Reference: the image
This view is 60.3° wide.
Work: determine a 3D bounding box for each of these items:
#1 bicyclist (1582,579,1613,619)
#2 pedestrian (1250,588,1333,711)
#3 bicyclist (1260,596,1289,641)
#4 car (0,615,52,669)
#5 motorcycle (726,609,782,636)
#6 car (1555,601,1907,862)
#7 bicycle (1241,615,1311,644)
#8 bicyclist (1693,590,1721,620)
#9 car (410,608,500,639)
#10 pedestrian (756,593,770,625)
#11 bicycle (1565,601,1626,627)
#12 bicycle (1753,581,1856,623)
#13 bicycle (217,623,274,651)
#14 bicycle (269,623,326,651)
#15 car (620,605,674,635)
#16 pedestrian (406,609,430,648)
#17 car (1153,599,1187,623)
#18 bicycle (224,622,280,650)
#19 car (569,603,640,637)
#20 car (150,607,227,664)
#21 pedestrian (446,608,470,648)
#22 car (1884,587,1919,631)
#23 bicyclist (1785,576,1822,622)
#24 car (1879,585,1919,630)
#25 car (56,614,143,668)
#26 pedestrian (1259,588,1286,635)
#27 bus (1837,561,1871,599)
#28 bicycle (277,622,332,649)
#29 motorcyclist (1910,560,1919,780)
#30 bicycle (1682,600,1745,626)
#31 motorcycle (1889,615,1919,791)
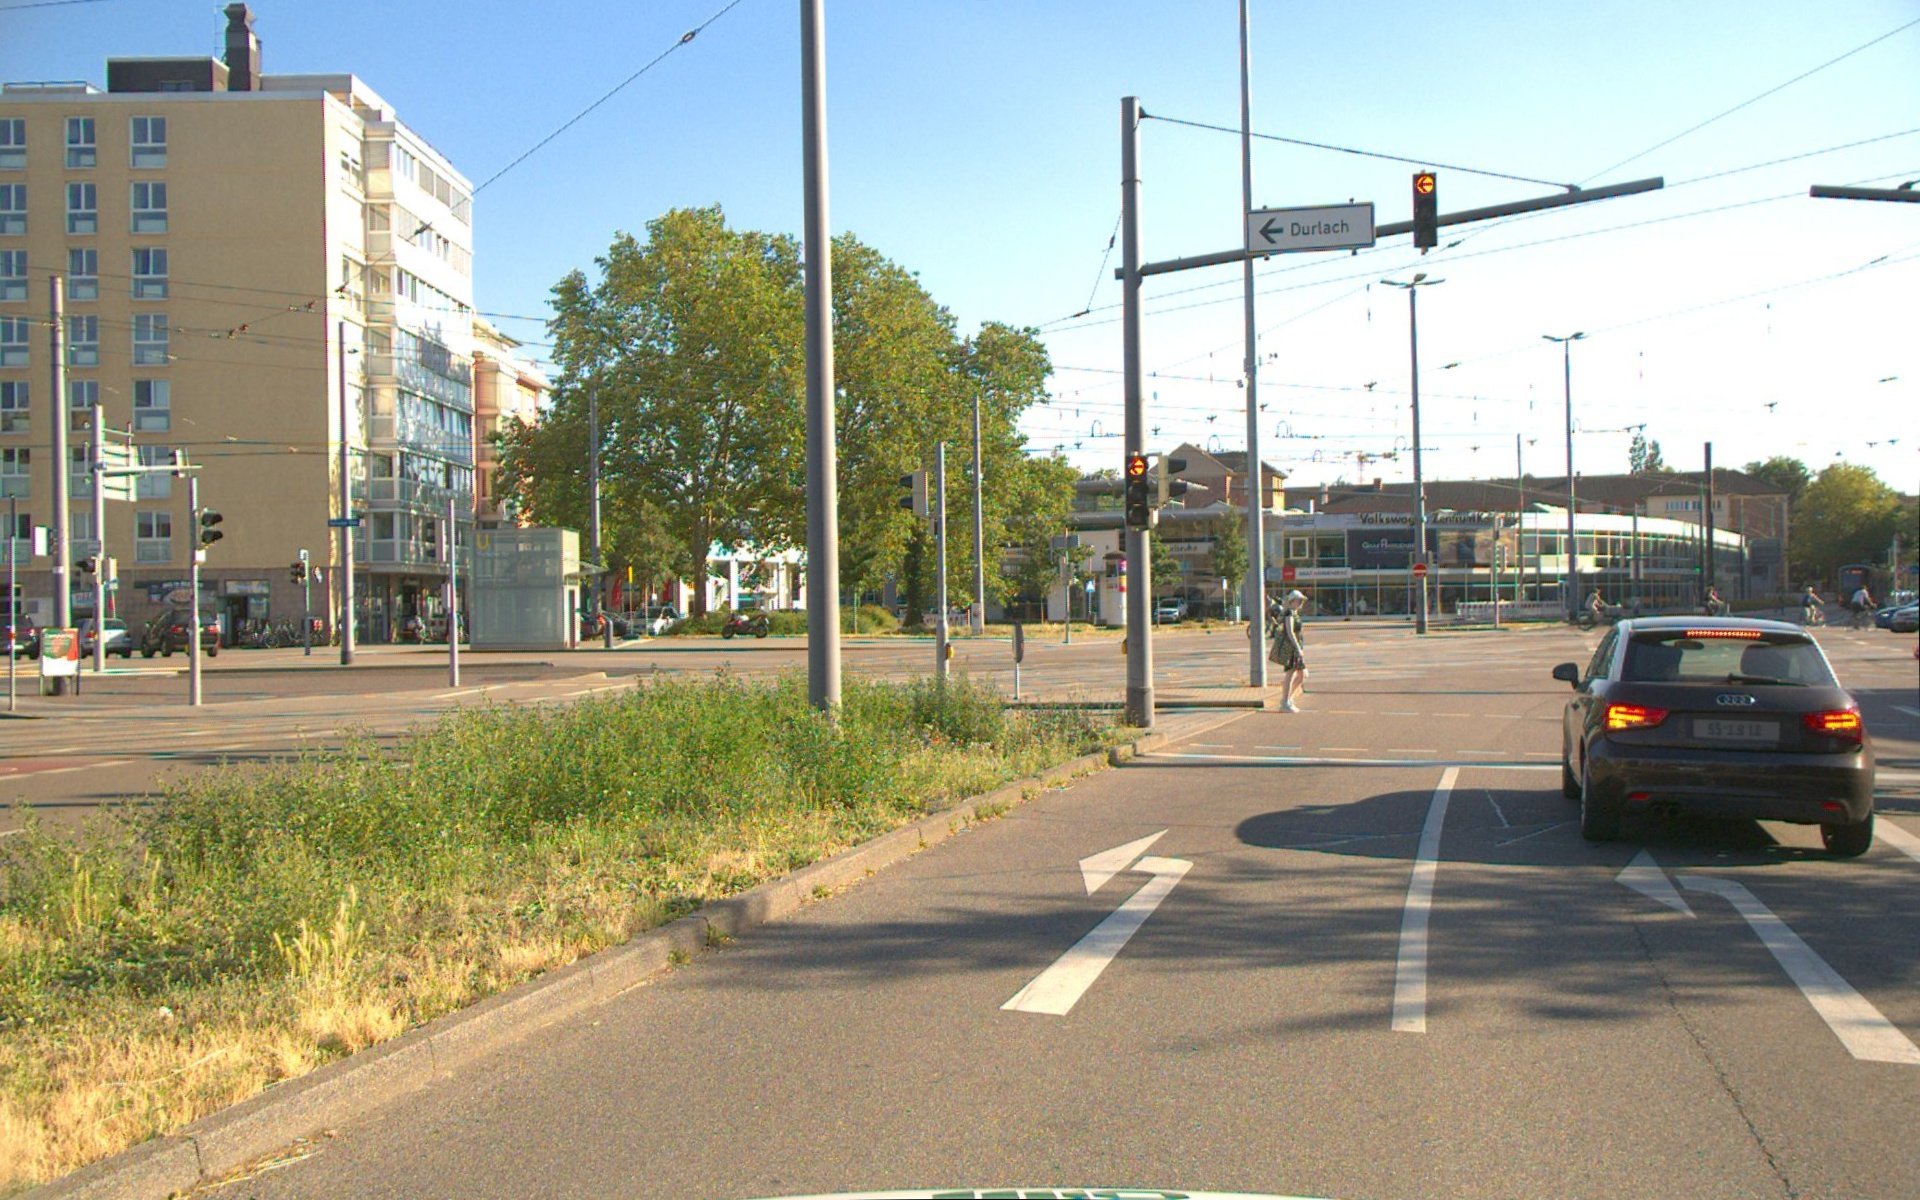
[{"bbox_3d":[26.411,-0.046,68.544,0.905,1.586,0.859,-1,1,-4],"label":"bicyclist"},{"bbox_3d":[4.506,0.663,22.514,1.069,1.634,0.699,0,1,8],"label":"pedestrian"},{"bbox_3d":[11.404,0.670,59.962,0.904,1.587,0.963,-1,0,3],"label":"bicyclist"},{"bbox_3d":[-34.623,1.510,60.353,1.823,1.749,3.941,-2,2,-41],"label":"car"},{"bbox_3d":[-8.558,0.948,68.733,2.236,1.072,0.688,0,1,5],"label":"motorcycle"},{"bbox_3d":[5.205,0.755,11.660,1.763,1.469,3.980,1,0,18],"label":"car"},{"bbox_3d":[11.439,1.070,59.950,2.387,1.021,0.963,-1,0,3],"label":"bicycle"},{"bbox_3d":[30.044,0.194,66.504,0.699,1.163,0.835,-1,1,-10],"label":"bicyclist"},{"bbox_3d":[-24.970,1.173,81.884,3.908,1.447,1.811,-1,0,-4],"label":"car"},{"bbox_3d":[-12.672,0.553,106.357,0.576,2.049,0.711,-1,-1,18],"label":"pedestrian"},{"bbox_3d":[26.335,0.571,68.554,2.250,0.996,0.860,-1,2,-3],"label":"bicycle"},{"bbox_3d":[36.648,0.079,71.798,3.905,1.719,1.139,0,1,0],"label":"bicycle"},{"bbox_3d":[-29.639,1.535,68.628,2.000,1.109,0.777,-1,0,-1],"label":"bicycle"},{"bbox_3d":[-27.501,1.516,68.681,2.000,1.109,0.777,-1,0,-1],"label":"bicycle"},{"bbox_3d":[-15.797,0.994,83.729,1.808,1.477,4.001,0,0,2],"label":"car"},{"bbox_3d":[-23.540,1.234,71.852,0.760,1.705,0.783,-1,0,1],"label":"pedestrian"},{"bbox_3d":[14.488,0.748,113.996,1.951,1.561,4.004,0,2,12],"label":"car"},{"bbox_3d":[-29.733,1.510,69.499,2.000,1.109,0.777,-1,0,-1],"label":"bicycle"},{"bbox_3d":[-20.810,1.153,96.841,3.923,1.889,1.845,-1,2,-17],"label":"car"},{"bbox_3d":[-28.233,1.266,60.475,1.832,1.889,3.950,-2,2,-35],"label":"car"},{"bbox_3d":[-21.789,1.221,71.796,0.760,1.705,0.783,-1,0,1],"label":"pedestrian"},{"bbox_3d":[34.695,0.284,57.644,4.018,1.477,1.950,-1,0,-8],"label":"car"},{"bbox_3d":[36.628,-0.050,71.817,1.048,1.933,1.123,0,1,0],"label":"bicyclist"},{"bbox_3d":[36.428,0.235,60.715,4.510,1.622,1.952,-1,0,25],"label":"car"},{"bbox_3d":[-31.448,1.467,60.392,1.825,1.778,3.937,-2,2,-43],"label":"car"},{"bbox_3d":[12.525,0.460,66.321,0.968,1.848,0.921,0,1,17],"label":"pedestrian"},{"bbox_3d":[73.675,-1.700,136.237,2.309,2.933,9.564,0,2,29],"label":"bus"},{"bbox_3d":[-27.559,1.490,69.528,2.000,1.109,0.777,-1,0,-1],"label":"bicycle"},{"bbox_3d":[8.123,0.557,12.903,1.073,1.751,0.937,0,-1,19],"label":"motorcyclist"},{"bbox_3d":[30.326,0.516,66.560,2.254,0.976,0.858,-1,2,-11],"label":"bicycle"},{"bbox_3d":[8.117,0.825,12.889,1.073,1.401,2.654,0,0,19],"label":"motorcycle"}]
